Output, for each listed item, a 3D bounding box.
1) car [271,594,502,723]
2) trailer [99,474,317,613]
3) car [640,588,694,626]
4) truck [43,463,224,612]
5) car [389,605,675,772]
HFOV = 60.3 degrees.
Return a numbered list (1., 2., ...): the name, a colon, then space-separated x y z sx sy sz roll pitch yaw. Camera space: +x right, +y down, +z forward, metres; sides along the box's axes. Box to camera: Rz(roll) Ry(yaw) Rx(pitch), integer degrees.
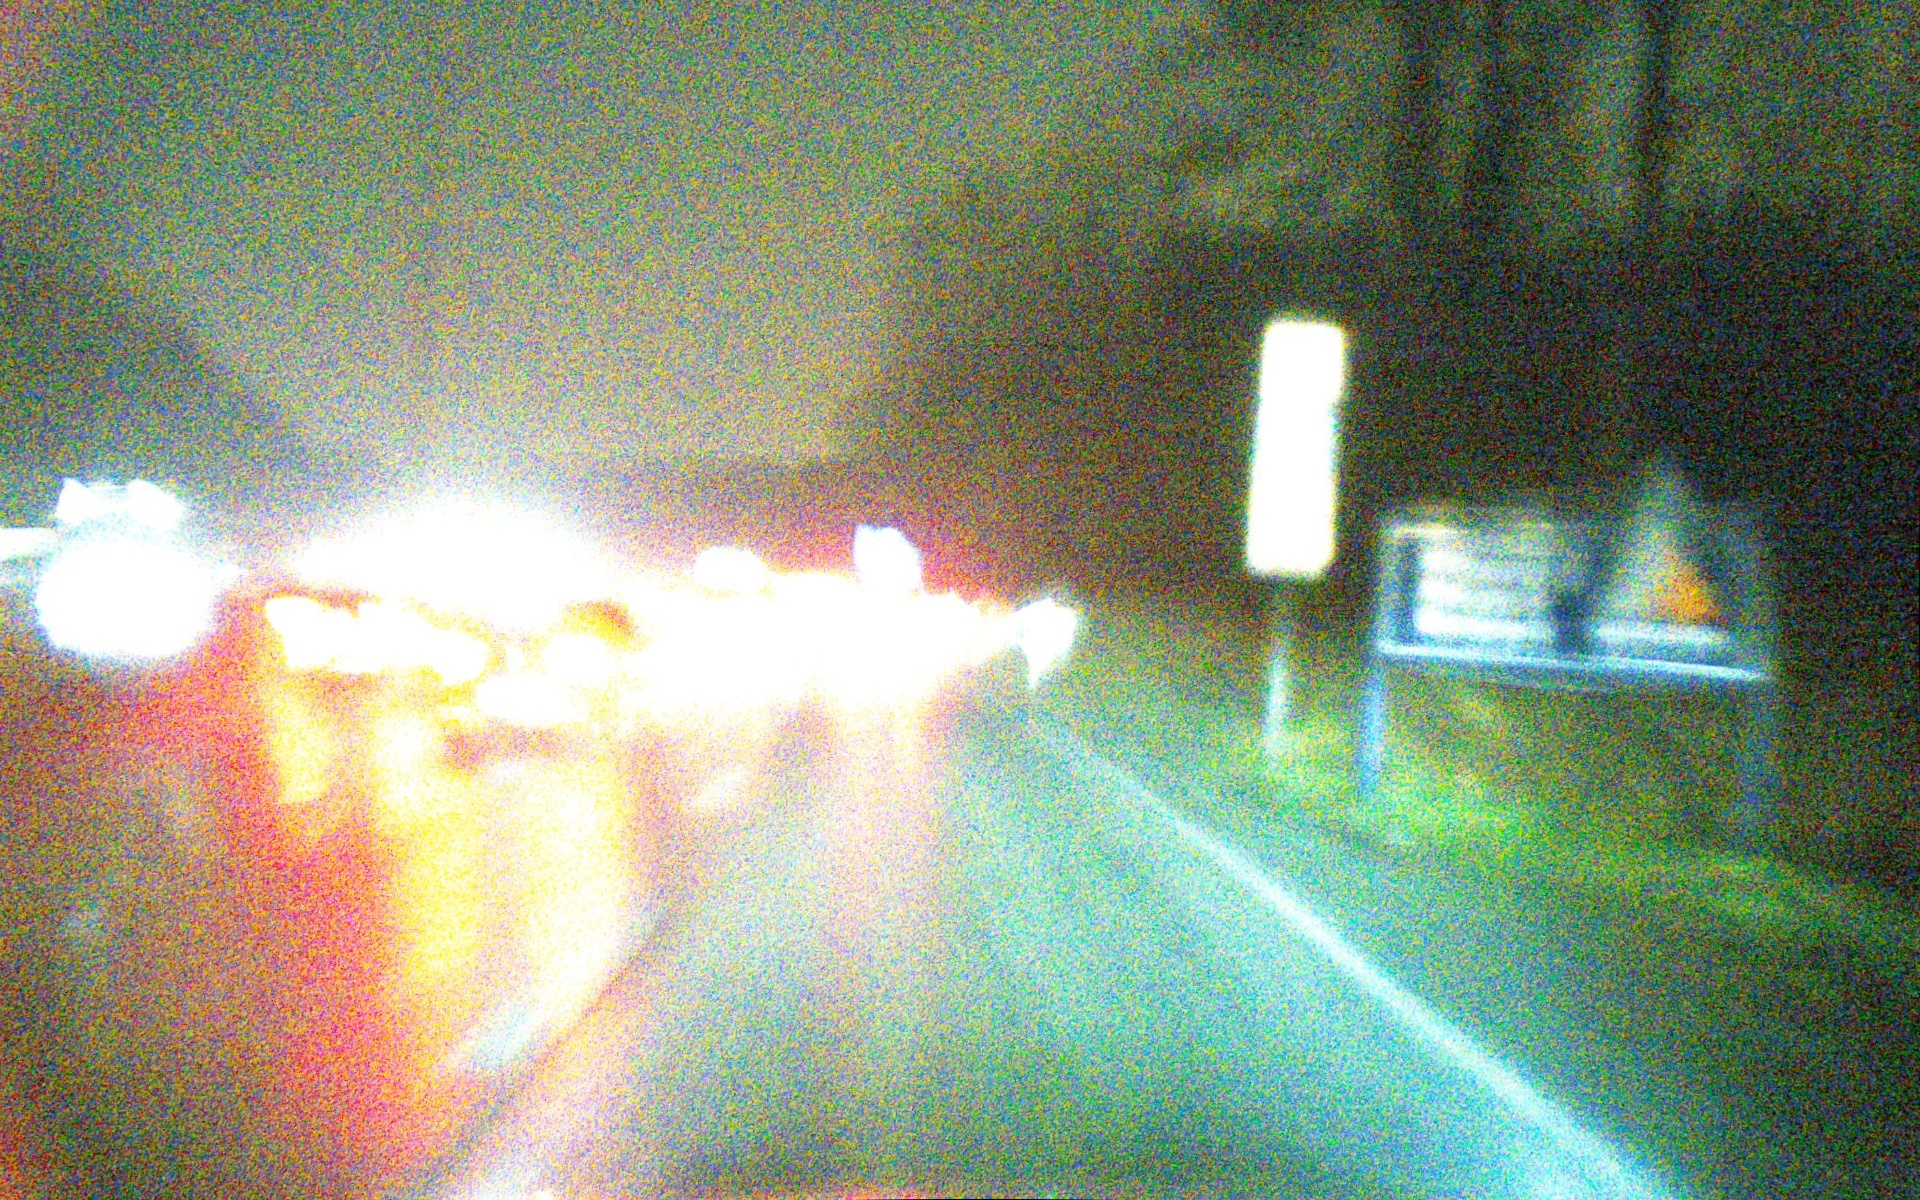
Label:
1. car: -7.715 0.716 22.738 1.733 1.543 4.910 2 0 -4
2. trailer: -21.590 -1.434 48.278 2.559 3.533 10.431 2 -1 -6
3. car: -12.897 0.329 72.971 1.855 1.578 3.997 2 -1 -3
4. truck: -20.932 -1.482 42.175 2.554 3.518 4.634 2 -1 -6
5. car: -4.129 0.806 16.661 1.923 1.405 4.047 2 -1 -2
